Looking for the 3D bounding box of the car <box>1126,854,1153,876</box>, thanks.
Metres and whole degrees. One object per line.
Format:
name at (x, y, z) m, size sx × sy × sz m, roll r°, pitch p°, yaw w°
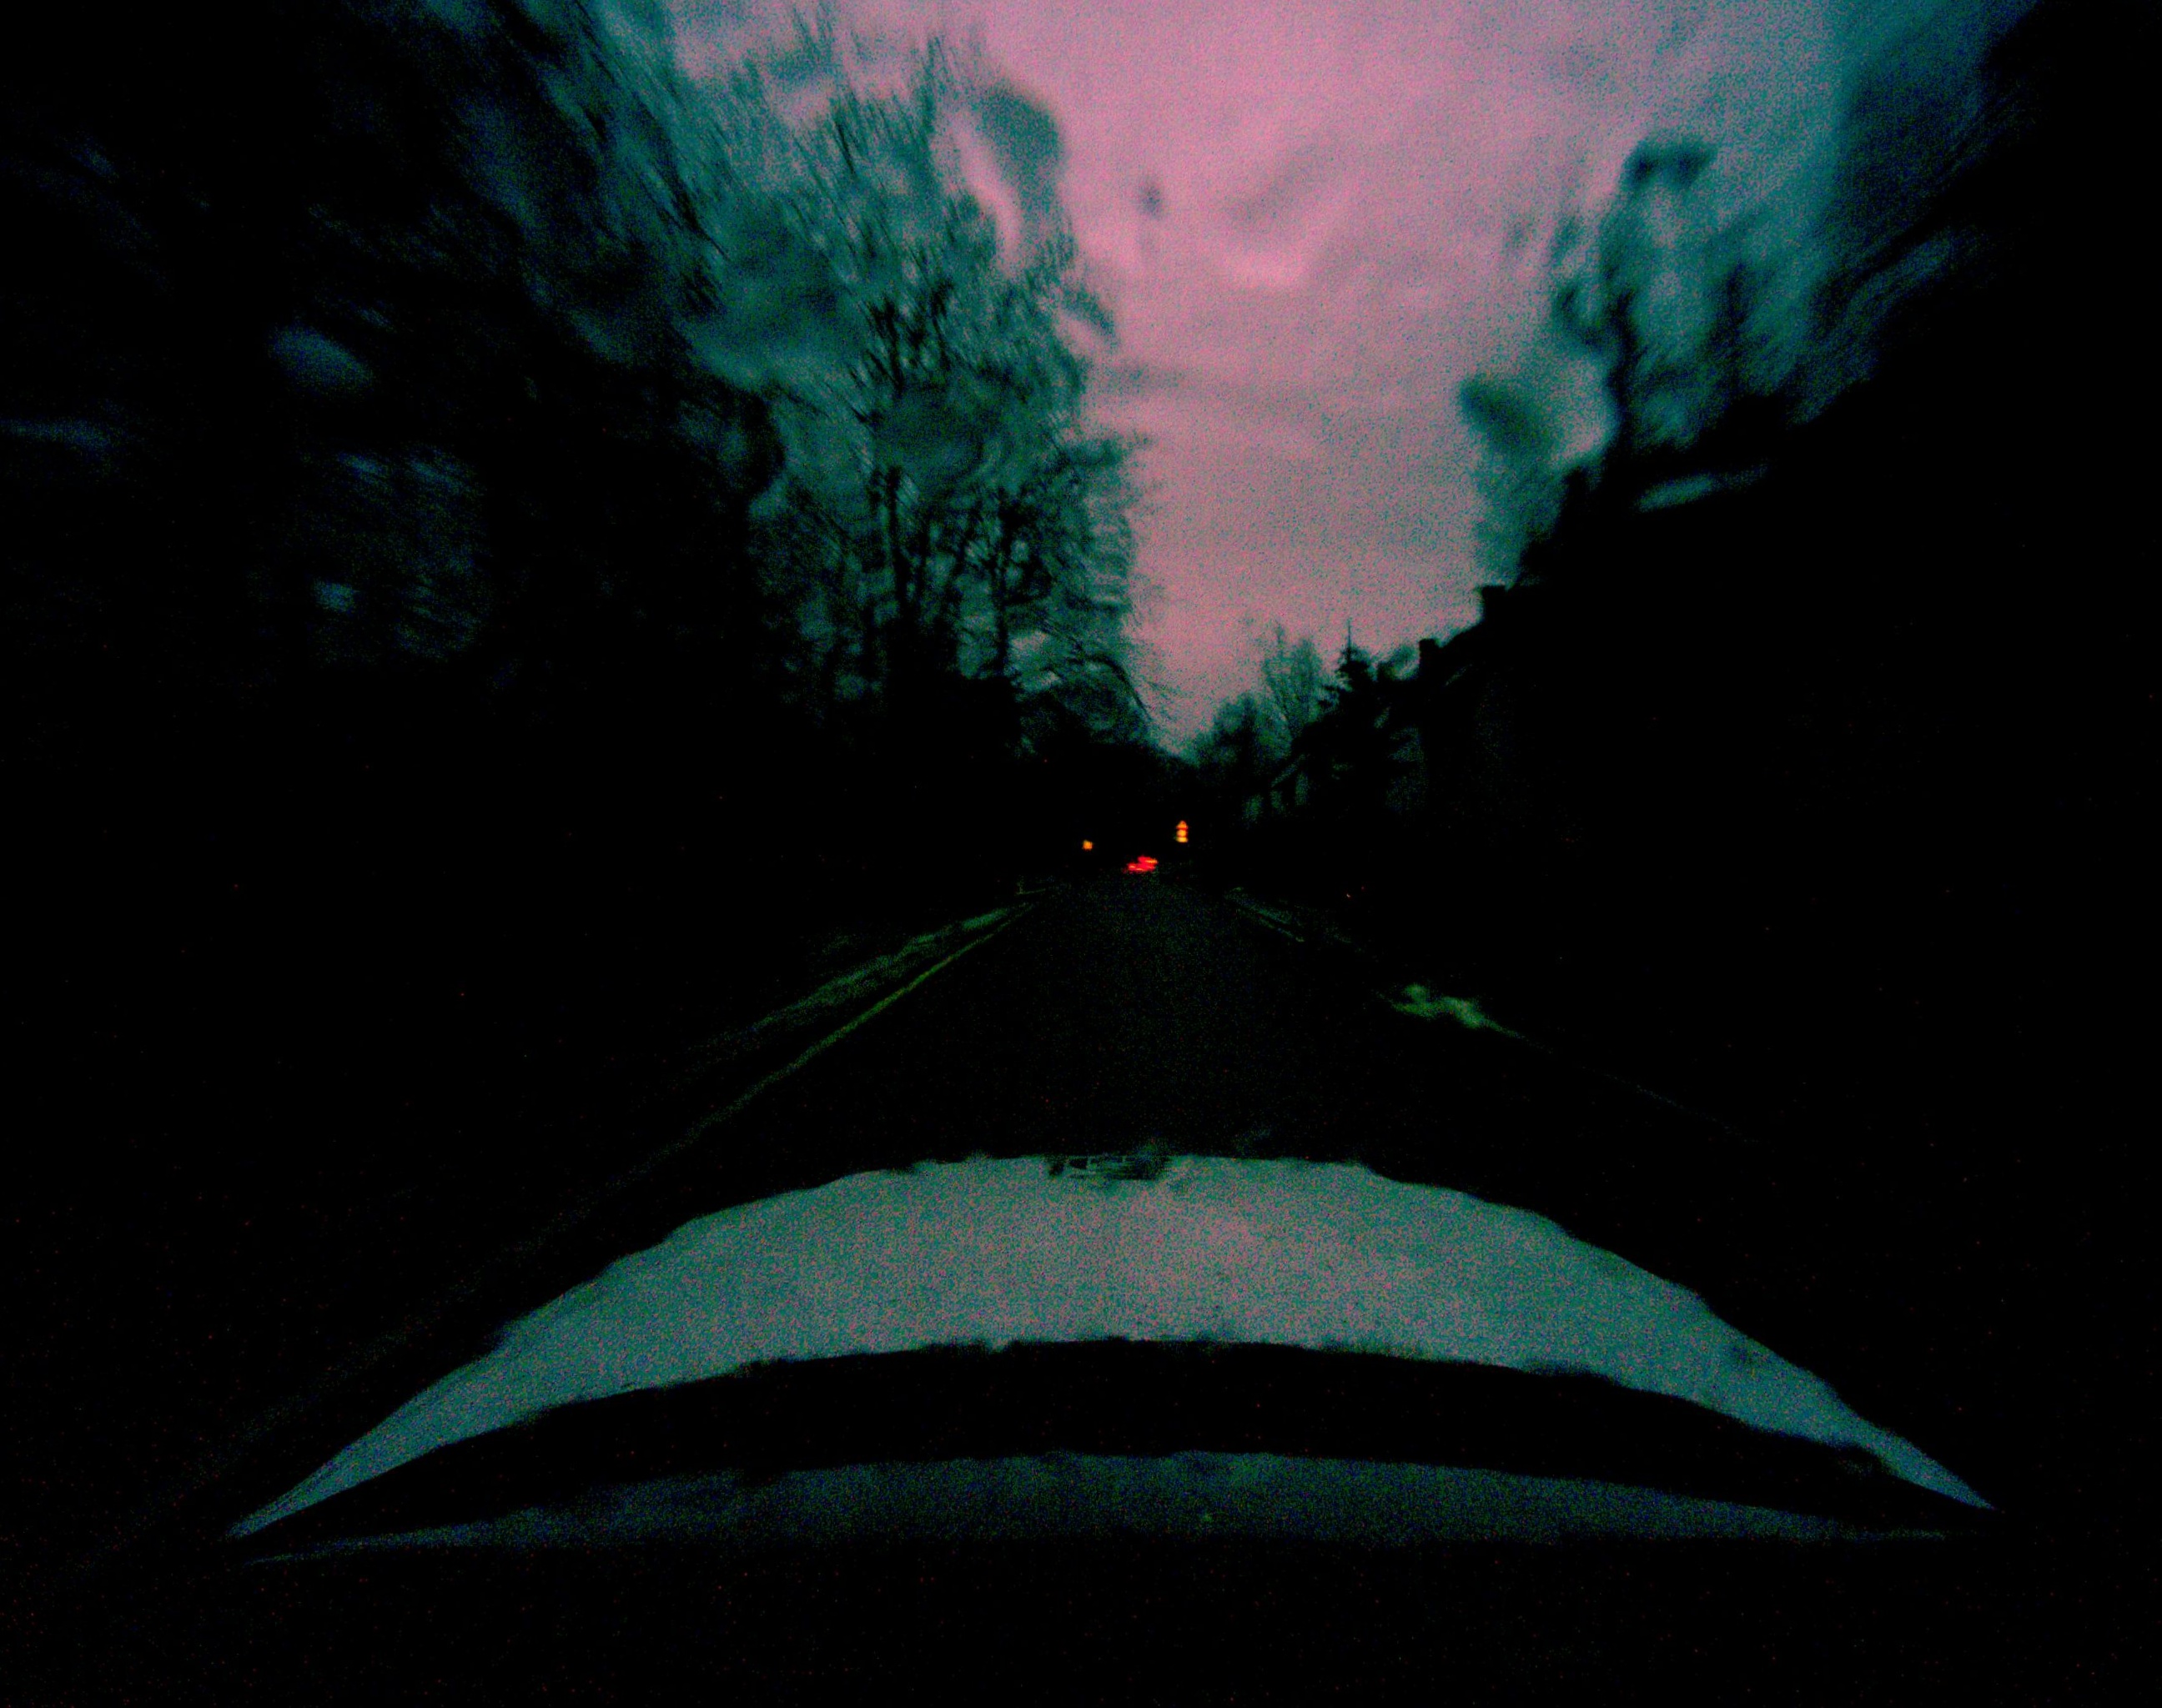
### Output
car at (5.177, 0.931, 71.203) m, size 1.921 × 1.781 × 4.011 m, roll -1°, pitch 0°, yaw 10°
